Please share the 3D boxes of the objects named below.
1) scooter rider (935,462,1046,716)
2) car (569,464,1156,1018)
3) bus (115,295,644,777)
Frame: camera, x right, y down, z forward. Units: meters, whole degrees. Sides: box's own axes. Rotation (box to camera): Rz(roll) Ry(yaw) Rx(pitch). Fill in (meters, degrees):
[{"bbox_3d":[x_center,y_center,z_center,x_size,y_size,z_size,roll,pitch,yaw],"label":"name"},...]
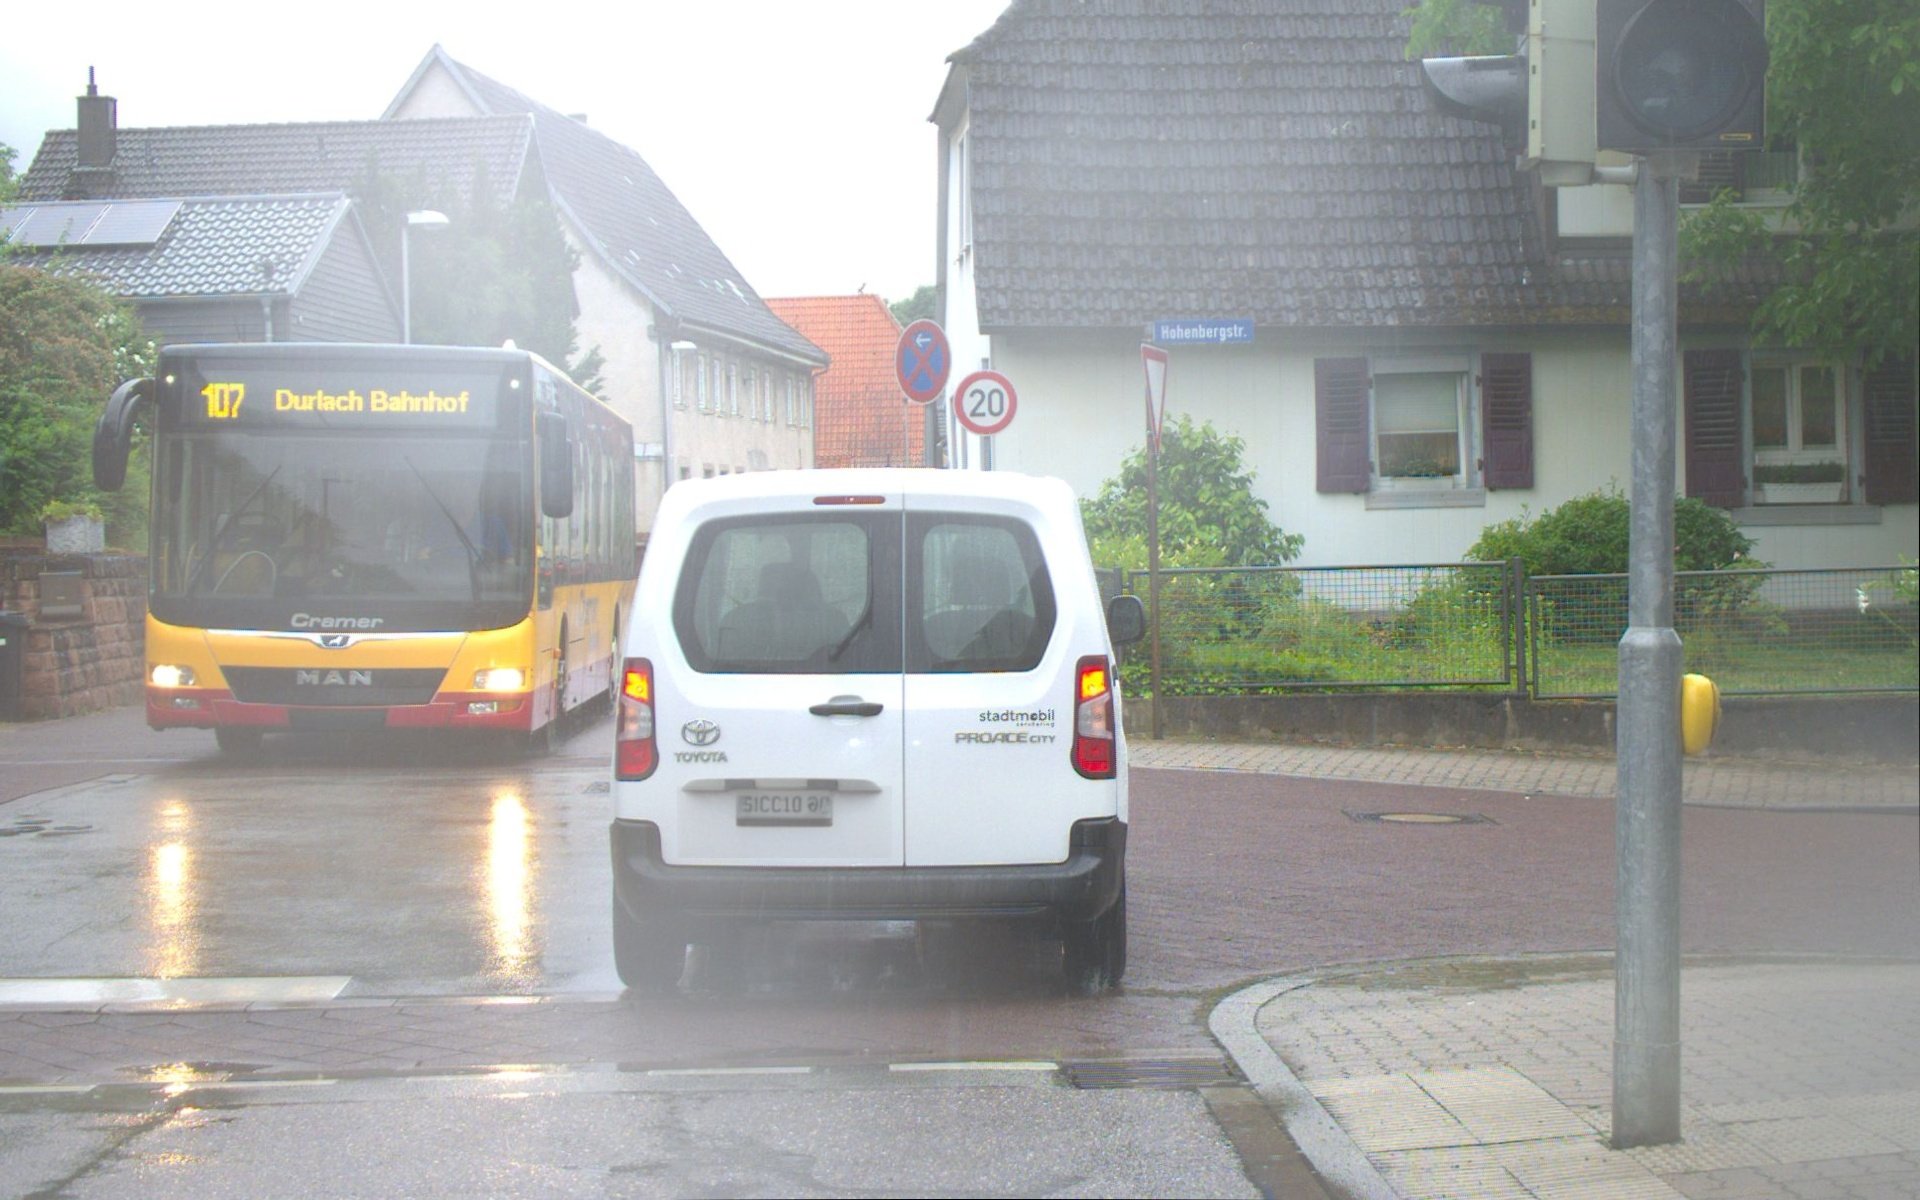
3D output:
[{"bbox_3d":[0.212,-0.081,23.774,0.731,1.727,0.518,-1,2,1],"label":"scooter rider"},{"bbox_3d":[-0.307,0.423,13.059,1.894,1.787,3.813,0,1,0],"label":"car"},{"bbox_3d":[-4.172,-0.662,27.524,2.649,2.989,12.195,0,2,-2],"label":"bus"}]
